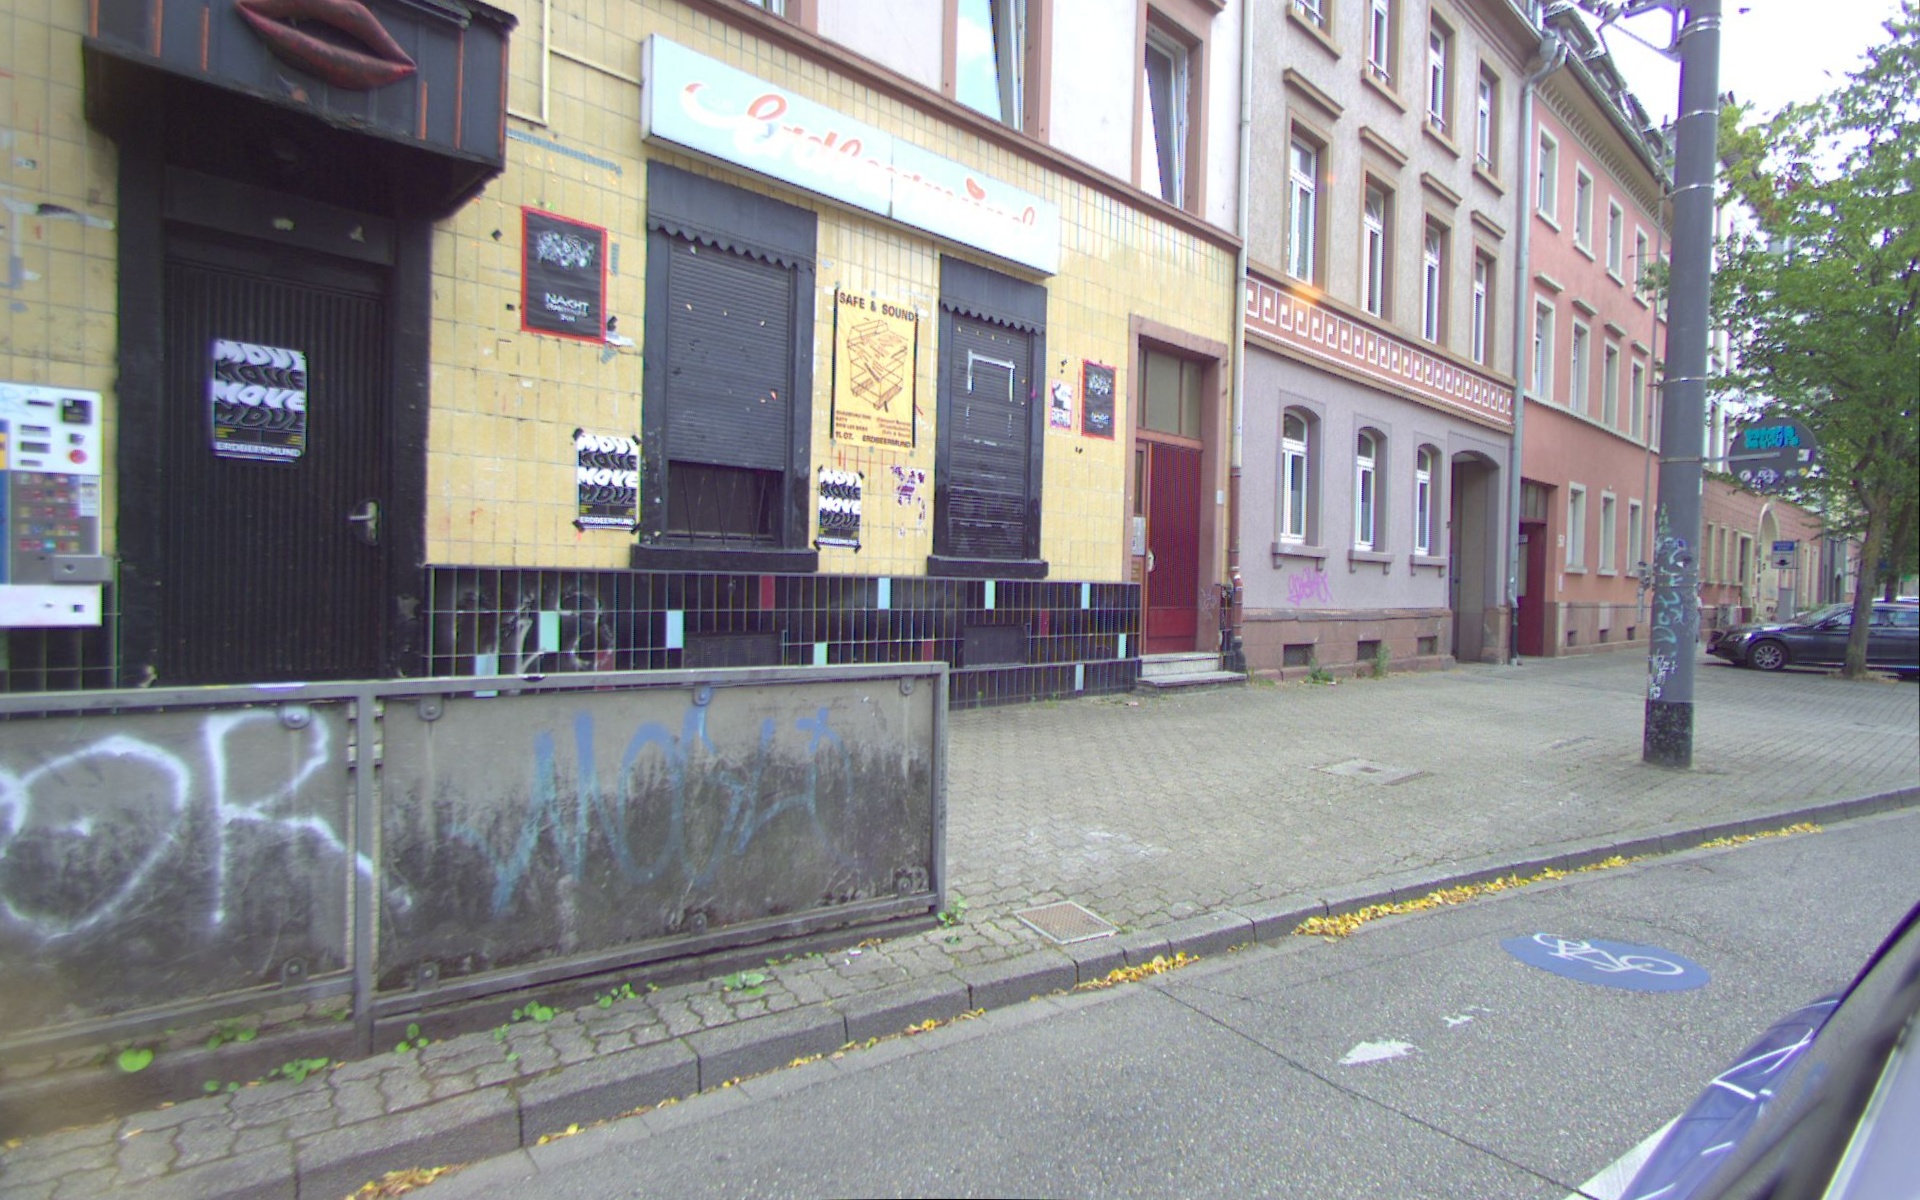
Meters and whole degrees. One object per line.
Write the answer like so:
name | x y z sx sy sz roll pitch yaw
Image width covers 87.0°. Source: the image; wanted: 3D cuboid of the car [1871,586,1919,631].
car | 39.647 0.414 40.256 4.581 1.719 1.901 3 2 25

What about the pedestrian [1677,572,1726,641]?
pedestrian | 19.304 0.166 26.353 0.910 1.708 0.732 1 4 -42

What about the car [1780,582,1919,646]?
car | 27.705 0.429 30.553 4.196 1.719 1.725 3 2 25

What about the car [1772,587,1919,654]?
car | 23.163 0.524 25.108 4.301 1.498 1.774 3 2 25

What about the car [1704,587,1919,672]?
car | 18.043 0.585 20.367 4.581 1.491 1.774 3 2 25
